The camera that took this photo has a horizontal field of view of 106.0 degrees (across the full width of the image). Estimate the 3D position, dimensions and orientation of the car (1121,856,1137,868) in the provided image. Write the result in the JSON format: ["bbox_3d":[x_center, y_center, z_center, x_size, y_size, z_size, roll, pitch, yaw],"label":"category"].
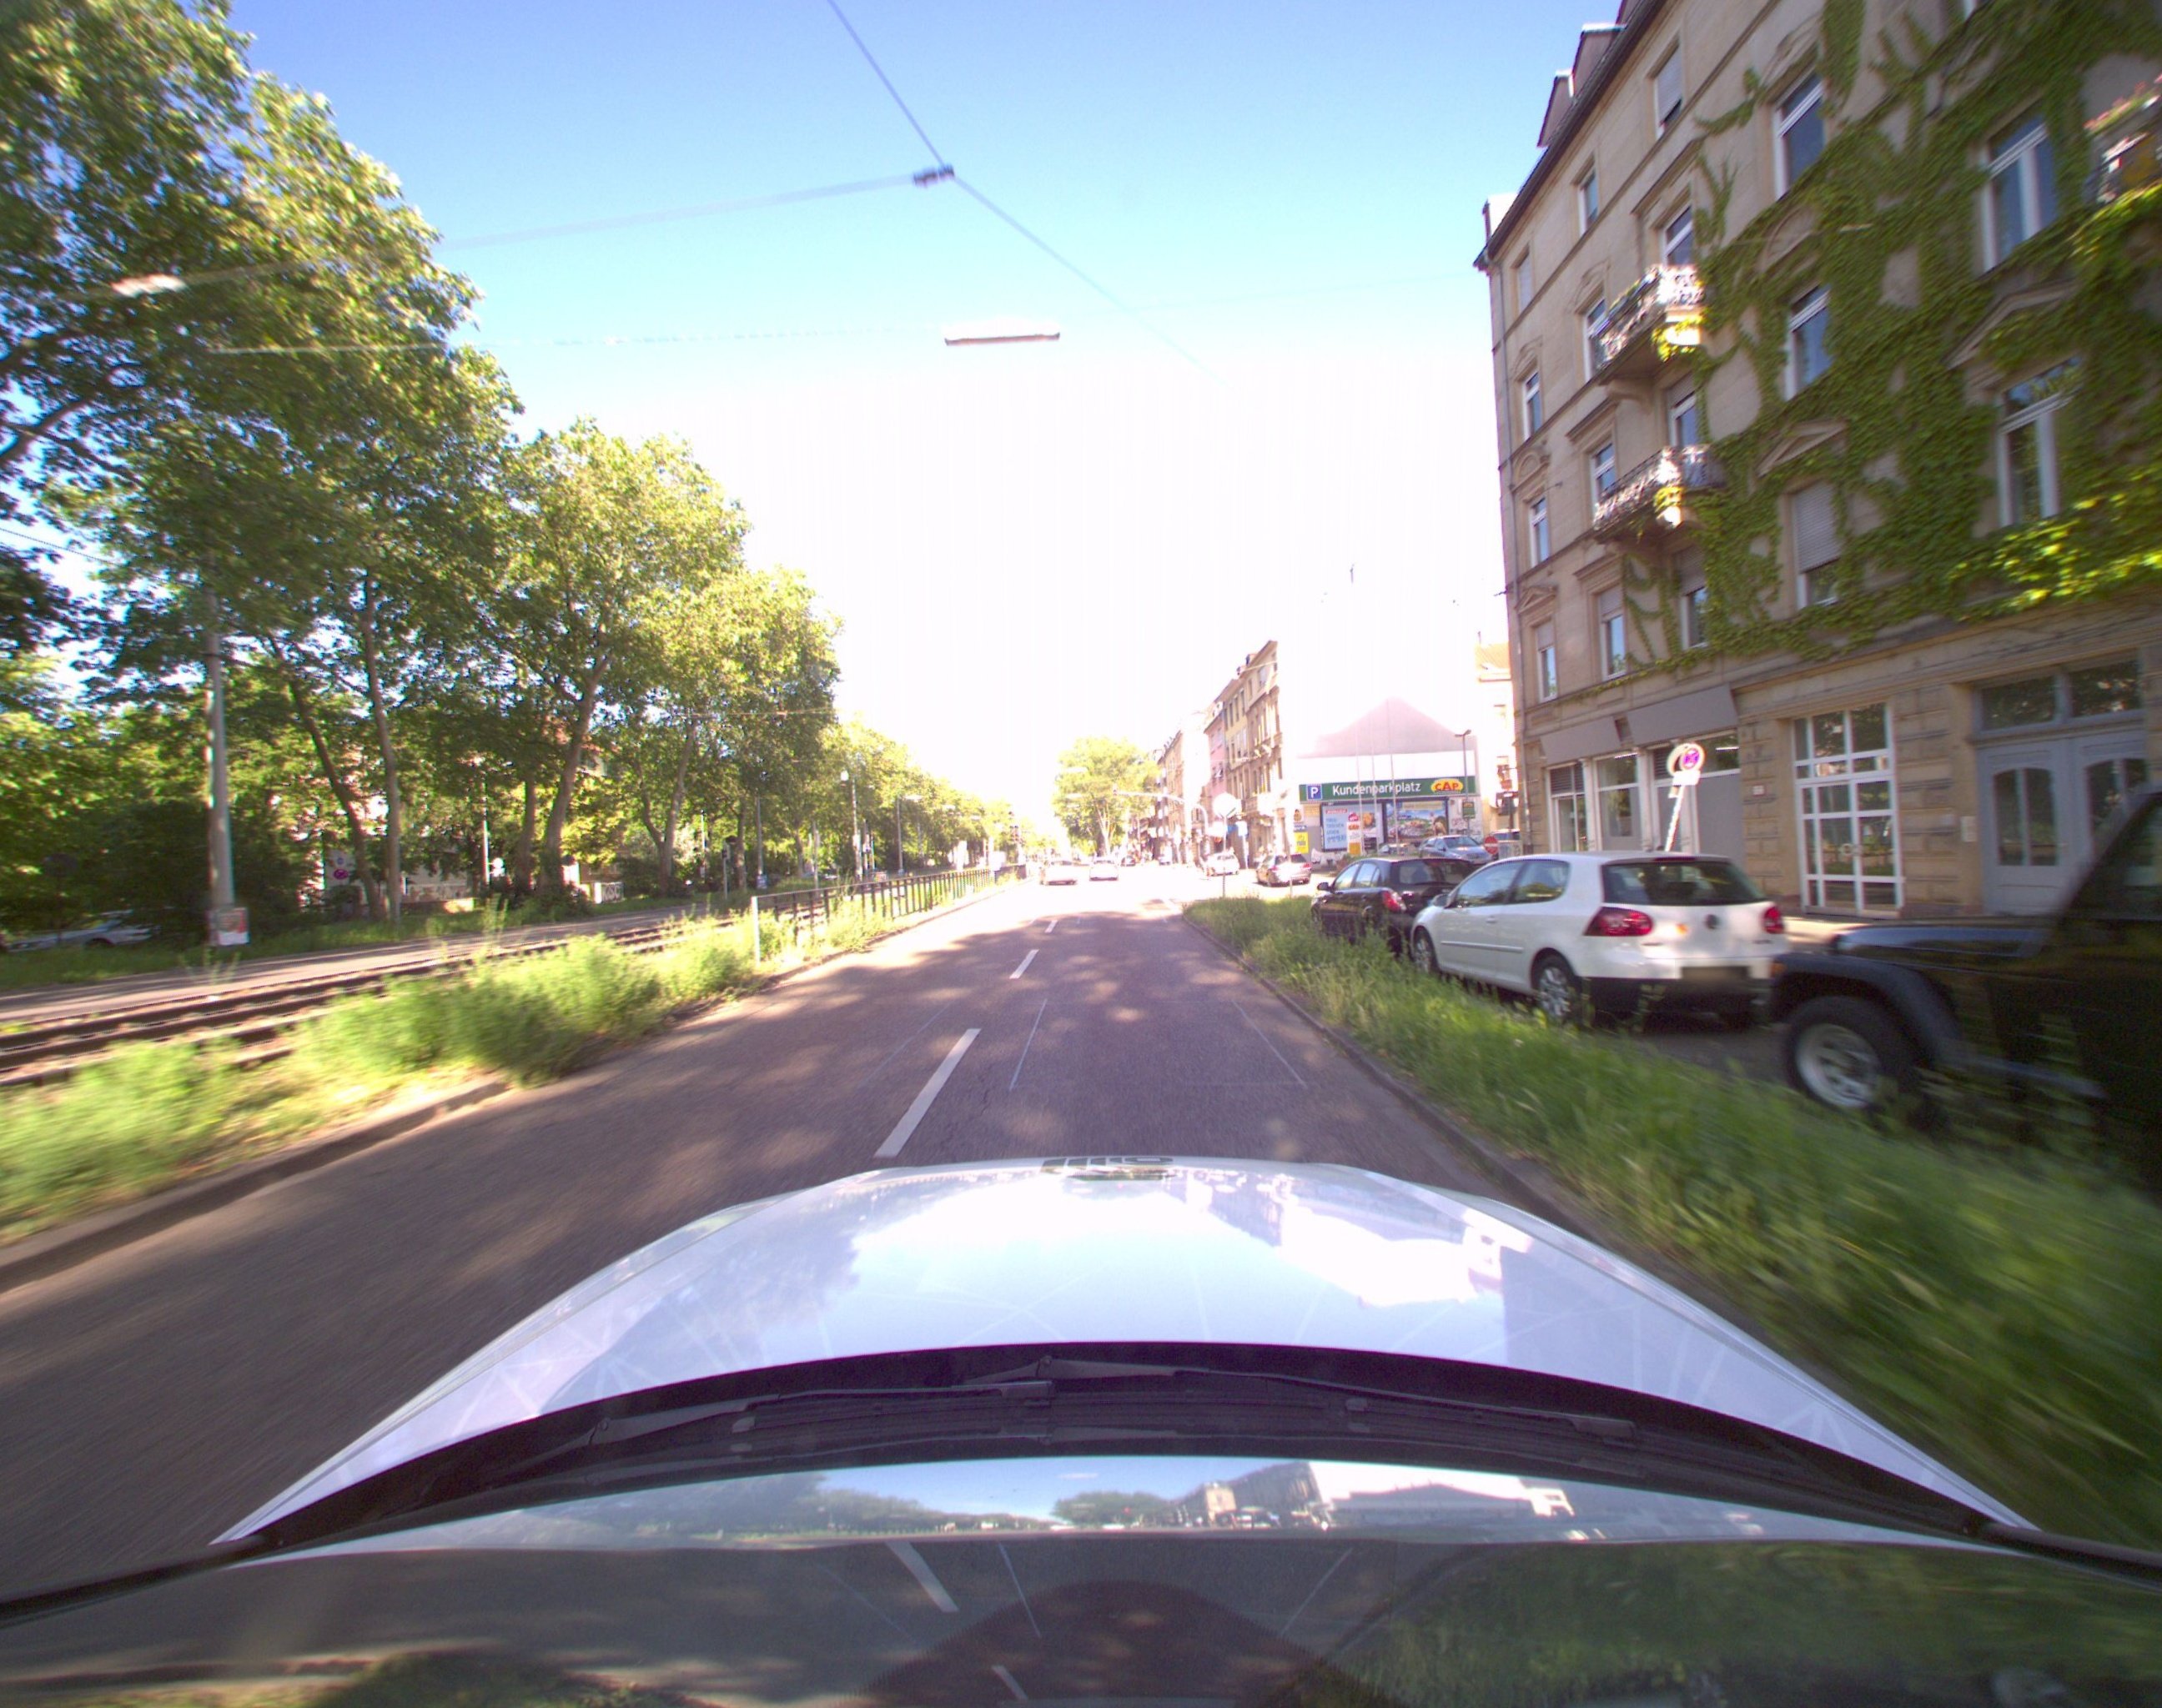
[{"bbox_3d":[5.877,1.026,100.639,1.730,1.433,3.677,-1,0,0],"label":"car"}]

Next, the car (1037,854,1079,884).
[{"bbox_3d":[-1.264,0.791,43.315,1.609,1.467,3.876,-2,0,-10],"label":"car"}]

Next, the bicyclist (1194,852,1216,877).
[{"bbox_3d":[7.153,0.609,46.959,0.751,1.462,0.940,0,-1,-44],"label":"bicyclist"}]

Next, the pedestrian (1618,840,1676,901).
[{"bbox_3d":[12.093,0.349,17.413,0.713,1.261,0.713,-2,-1,1],"label":"pedestrian"}]

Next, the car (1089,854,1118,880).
[{"bbox_3d":[1.369,0.770,49.886,1.734,1.467,4.001,-1,0,1],"label":"car"}]

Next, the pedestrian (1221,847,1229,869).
[{"bbox_3d":[11.498,0.321,65.089,0.547,1.708,0.389,-3,-1,4],"label":"pedestrian"}]

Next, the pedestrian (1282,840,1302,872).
[{"bbox_3d":[12.429,0.119,47.940,0.762,1.841,0.743,-3,-1,-18],"label":"pedestrian"}]

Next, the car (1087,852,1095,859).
[{"bbox_3d":[2.886,0.514,236.110,1.986,2.013,4.001,-3,0,1],"label":"car"}]

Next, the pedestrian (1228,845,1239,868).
[{"bbox_3d":[12.175,0.211,64.944,0.670,1.806,0.531,-3,0,1],"label":"pedestrian"}]

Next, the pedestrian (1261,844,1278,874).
[{"bbox_3d":[11.312,0.276,48.784,0.762,1.755,0.510,-2,-1,-19],"label":"pedestrian"}]

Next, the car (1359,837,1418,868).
[{"bbox_3d":[15.677,-0.074,41.655,1.554,1.485,3.391,-3,0,-3],"label":"car"}]

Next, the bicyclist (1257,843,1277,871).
[{"bbox_3d":[10.009,0.152,43.909,0.674,1.446,1.182,-6,-1,1],"label":"bicyclist"}]

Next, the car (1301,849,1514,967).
[{"bbox_3d":[4.725,0.704,12.440,1.635,1.517,3.998,0,0,-1],"label":"car"}]

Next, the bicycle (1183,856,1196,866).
[{"bbox_3d":[10.519,0.700,78.898,0.646,0.903,1.346,-2,0,43],"label":"bicycle"}]

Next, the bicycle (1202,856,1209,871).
[{"bbox_3d":[9.923,0.716,65.086,0.446,1.159,1.762,-2,0,7],"label":"bicycle"}]

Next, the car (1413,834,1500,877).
[{"bbox_3d":[16.096,0.080,35.144,1.740,1.645,3.996,-2,-1,-3],"label":"car"}]

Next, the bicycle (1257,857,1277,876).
[{"bbox_3d":[10.024,0.663,43.896,0.647,0.920,1.918,-3,0,2],"label":"bicycle"}]

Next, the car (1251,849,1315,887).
[{"bbox_3d":[9.200,0.605,37.454,1.826,1.487,4.736,-5,0,2],"label":"car"}]

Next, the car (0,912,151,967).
[{"bbox_3d":[-27.245,2.251,21.604,1.468,1.116,3.215,-2,0,-2],"label":"car"}]

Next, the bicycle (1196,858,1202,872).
[{"bbox_3d":[9.490,0.873,65.458,0.411,1.141,1.813,-2,0,8],"label":"bicycle"}]

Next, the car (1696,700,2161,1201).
[{"bbox_3d":[4.715,0.303,3.024,1.857,1.764,4.001,-3,0,2],"label":"car"}]

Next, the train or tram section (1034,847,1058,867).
[{"bbox_3d":[-7.323,0.554,173.179,3.955,3.866,17.492,-2,0,1],"label":"train or tram section"}]

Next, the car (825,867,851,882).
[{"bbox_3d":[-27.078,2.237,90.840,1.664,1.509,4.144,-2,0,0],"label":"car"}]

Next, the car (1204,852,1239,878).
[{"bbox_3d":[9.035,0.684,52.571,1.557,1.415,4.005,-6,0,1],"label":"car"}]

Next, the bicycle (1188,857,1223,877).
[{"bbox_3d":[7.153,0.745,46.939,0.763,1.102,1.930,-2,-1,-42],"label":"bicycle"}]

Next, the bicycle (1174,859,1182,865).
[{"bbox_3d":[12.689,0.994,106.618,0.752,0.770,1.945,-2,0,0],"label":"bicycle"}]

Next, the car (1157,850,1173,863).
[{"bbox_3d":[10.637,0.307,103.431,1.730,1.519,3.636,-1,0,1],"label":"car"}]

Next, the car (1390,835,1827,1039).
[{"bbox_3d":[4.699,0.630,8.077,1.733,1.517,3.998,0,0,-1],"label":"car"}]

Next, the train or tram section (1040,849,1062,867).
[{"bbox_3d":[-6.834,0.839,190.686,3.991,3.866,17.492,-2,0,1],"label":"train or tram section"}]

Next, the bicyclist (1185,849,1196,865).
[{"bbox_3d":[10.615,0.278,78.780,0.541,1.502,0.967,-3,-1,42],"label":"bicyclist"}]
